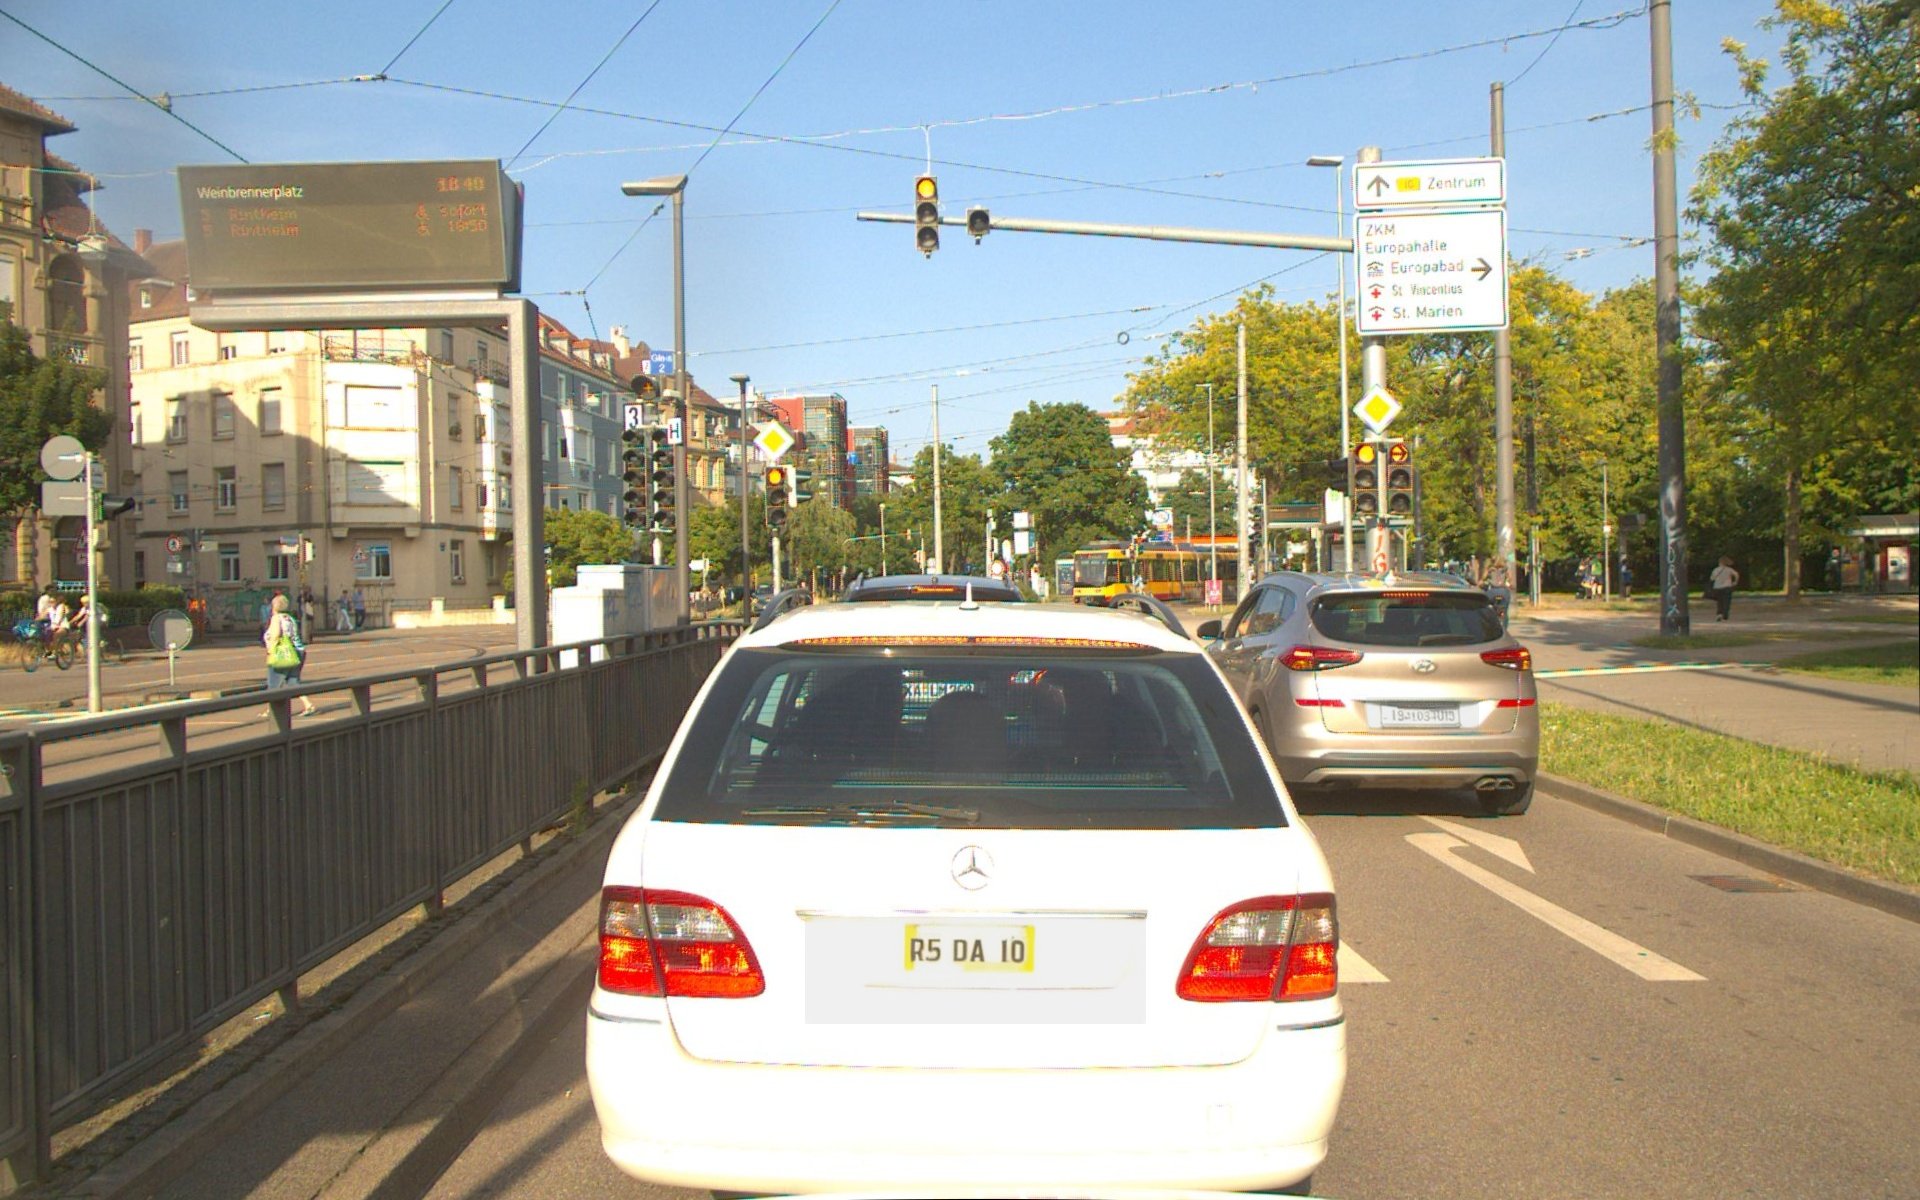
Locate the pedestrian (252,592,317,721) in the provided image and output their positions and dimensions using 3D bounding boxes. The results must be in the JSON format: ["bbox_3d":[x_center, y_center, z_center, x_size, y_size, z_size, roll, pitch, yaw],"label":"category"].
[{"bbox_3d":[-8.738,0.723,21.413,0.601,1.627,0.632,-1,0,-7],"label":"pedestrian"}]

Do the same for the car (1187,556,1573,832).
[{"bbox_3d":[2.892,0.574,12.213,1.846,1.680,3.647,-2,0,-1],"label":"car"}]

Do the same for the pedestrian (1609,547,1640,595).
[{"bbox_3d":[25.880,-1.118,64.415,0.784,1.816,0.838,-1,0,-5],"label":"pedestrian"}]

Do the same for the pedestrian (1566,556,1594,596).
[{"bbox_3d":[24.054,-0.922,64.135,0.809,1.513,0.690,-2,0,-42],"label":"pedestrian"}]

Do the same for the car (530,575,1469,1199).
[{"bbox_3d":[0.048,0.691,4.924,1.759,1.496,3.647,0,0,-1],"label":"car"}]

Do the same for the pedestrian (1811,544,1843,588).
[{"bbox_3d":[33.387,-1.312,63.721,0.818,1.665,0.803,-1,0,5],"label":"pedestrian"}]

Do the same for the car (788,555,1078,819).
[{"bbox_3d":[-0.195,0.553,12.520,1.846,1.680,3.647,1,0,-1],"label":"car"}]

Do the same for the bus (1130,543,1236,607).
[{"bbox_3d":[14.122,-1.448,103.337,3.047,3.669,12.582,1,0,24],"label":"bus"}]

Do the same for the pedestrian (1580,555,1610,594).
[{"bbox_3d":[24.862,-0.988,64.756,0.799,1.513,0.699,-1,0,-12],"label":"pedestrian"}]

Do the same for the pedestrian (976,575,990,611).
[{"bbox_3d":[1.196,-0.357,86.906,0.628,1.889,0.552,-1,0,11],"label":"pedestrian"}]

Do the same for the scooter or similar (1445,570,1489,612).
[{"bbox_3d":[14.002,-0.235,45.710,0.413,1.136,1.322,-1,0,-20],"label":"scooter or similar"}]

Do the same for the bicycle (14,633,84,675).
[{"bbox_3d":[-20.092,1.178,36.504,0.515,0.849,1.687,-1,0,3],"label":"bicycle"}]

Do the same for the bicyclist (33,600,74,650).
[{"bbox_3d":[-20.093,0.551,36.665,0.502,1.062,0.680,-1,0,3],"label":"bicyclist"}]

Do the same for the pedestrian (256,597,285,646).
[{"bbox_3d":[-22.363,0.694,53.681,0.616,1.568,0.711,-1,0,-1],"label":"pedestrian"}]

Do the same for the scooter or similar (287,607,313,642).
[{"bbox_3d":[-21.237,0.778,53.218,0.532,1.098,0.683,1,0,-1],"label":"scooter or similar"}]

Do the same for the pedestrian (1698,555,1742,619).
[{"bbox_3d":[20.119,-0.339,43.803,0.748,1.665,0.797,-2,0,-40],"label":"pedestrian"}]

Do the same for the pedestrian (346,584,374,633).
[{"bbox_3d":[-25.471,0.353,70.175,0.758,2.049,0.787,-1,0,14],"label":"pedestrian"}]

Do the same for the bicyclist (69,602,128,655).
[{"bbox_3d":[-21.697,0.718,41.657,0.747,1.284,1.175,-1,0,7],"label":"bicyclist"}]

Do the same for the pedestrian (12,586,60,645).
[{"bbox_3d":[-25.292,0.429,45.287,0.812,1.579,0.782,-1,0,21],"label":"pedestrian"}]

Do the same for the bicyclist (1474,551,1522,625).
[{"bbox_3d":[9.484,-0.212,29.189,0.523,1.284,0.869,-1,0,-1],"label":"bicyclist"}]

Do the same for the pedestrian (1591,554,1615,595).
[{"bbox_3d":[24.601,-0.968,63.240,0.797,1.513,0.700,-1,0,24],"label":"pedestrian"}]

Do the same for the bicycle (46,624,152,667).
[{"bbox_3d":[-21.681,1.131,41.725,0.768,0.930,3.000,-1,0,7],"label":"bicycle"}]

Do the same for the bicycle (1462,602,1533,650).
[{"bbox_3d":[9.493,0.442,29.278,0.485,0.770,2.168,-2,0,-1],"label":"bicycle"}]

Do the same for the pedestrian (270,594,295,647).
[{"bbox_3d":[-21.520,0.655,52.525,0.497,1.654,0.609,-1,0,3],"label":"pedestrian"}]

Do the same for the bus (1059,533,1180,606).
[{"bbox_3d":[9.045,-1.572,91.845,3.046,3.669,12.370,1,0,23],"label":"bus"}]

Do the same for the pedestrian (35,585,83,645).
[{"bbox_3d":[-24.464,0.406,44.920,0.812,1.579,0.782,-1,0,21],"label":"pedestrian"}]

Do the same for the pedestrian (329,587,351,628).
[{"bbox_3d":[-25.974,0.301,69.292,0.606,1.689,0.586,-1,0,14],"label":"pedestrian"}]

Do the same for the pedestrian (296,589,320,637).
[{"bbox_3d":[-20.675,0.412,52.441,0.428,1.527,0.549,-1,0,14],"label":"pedestrian"}]
